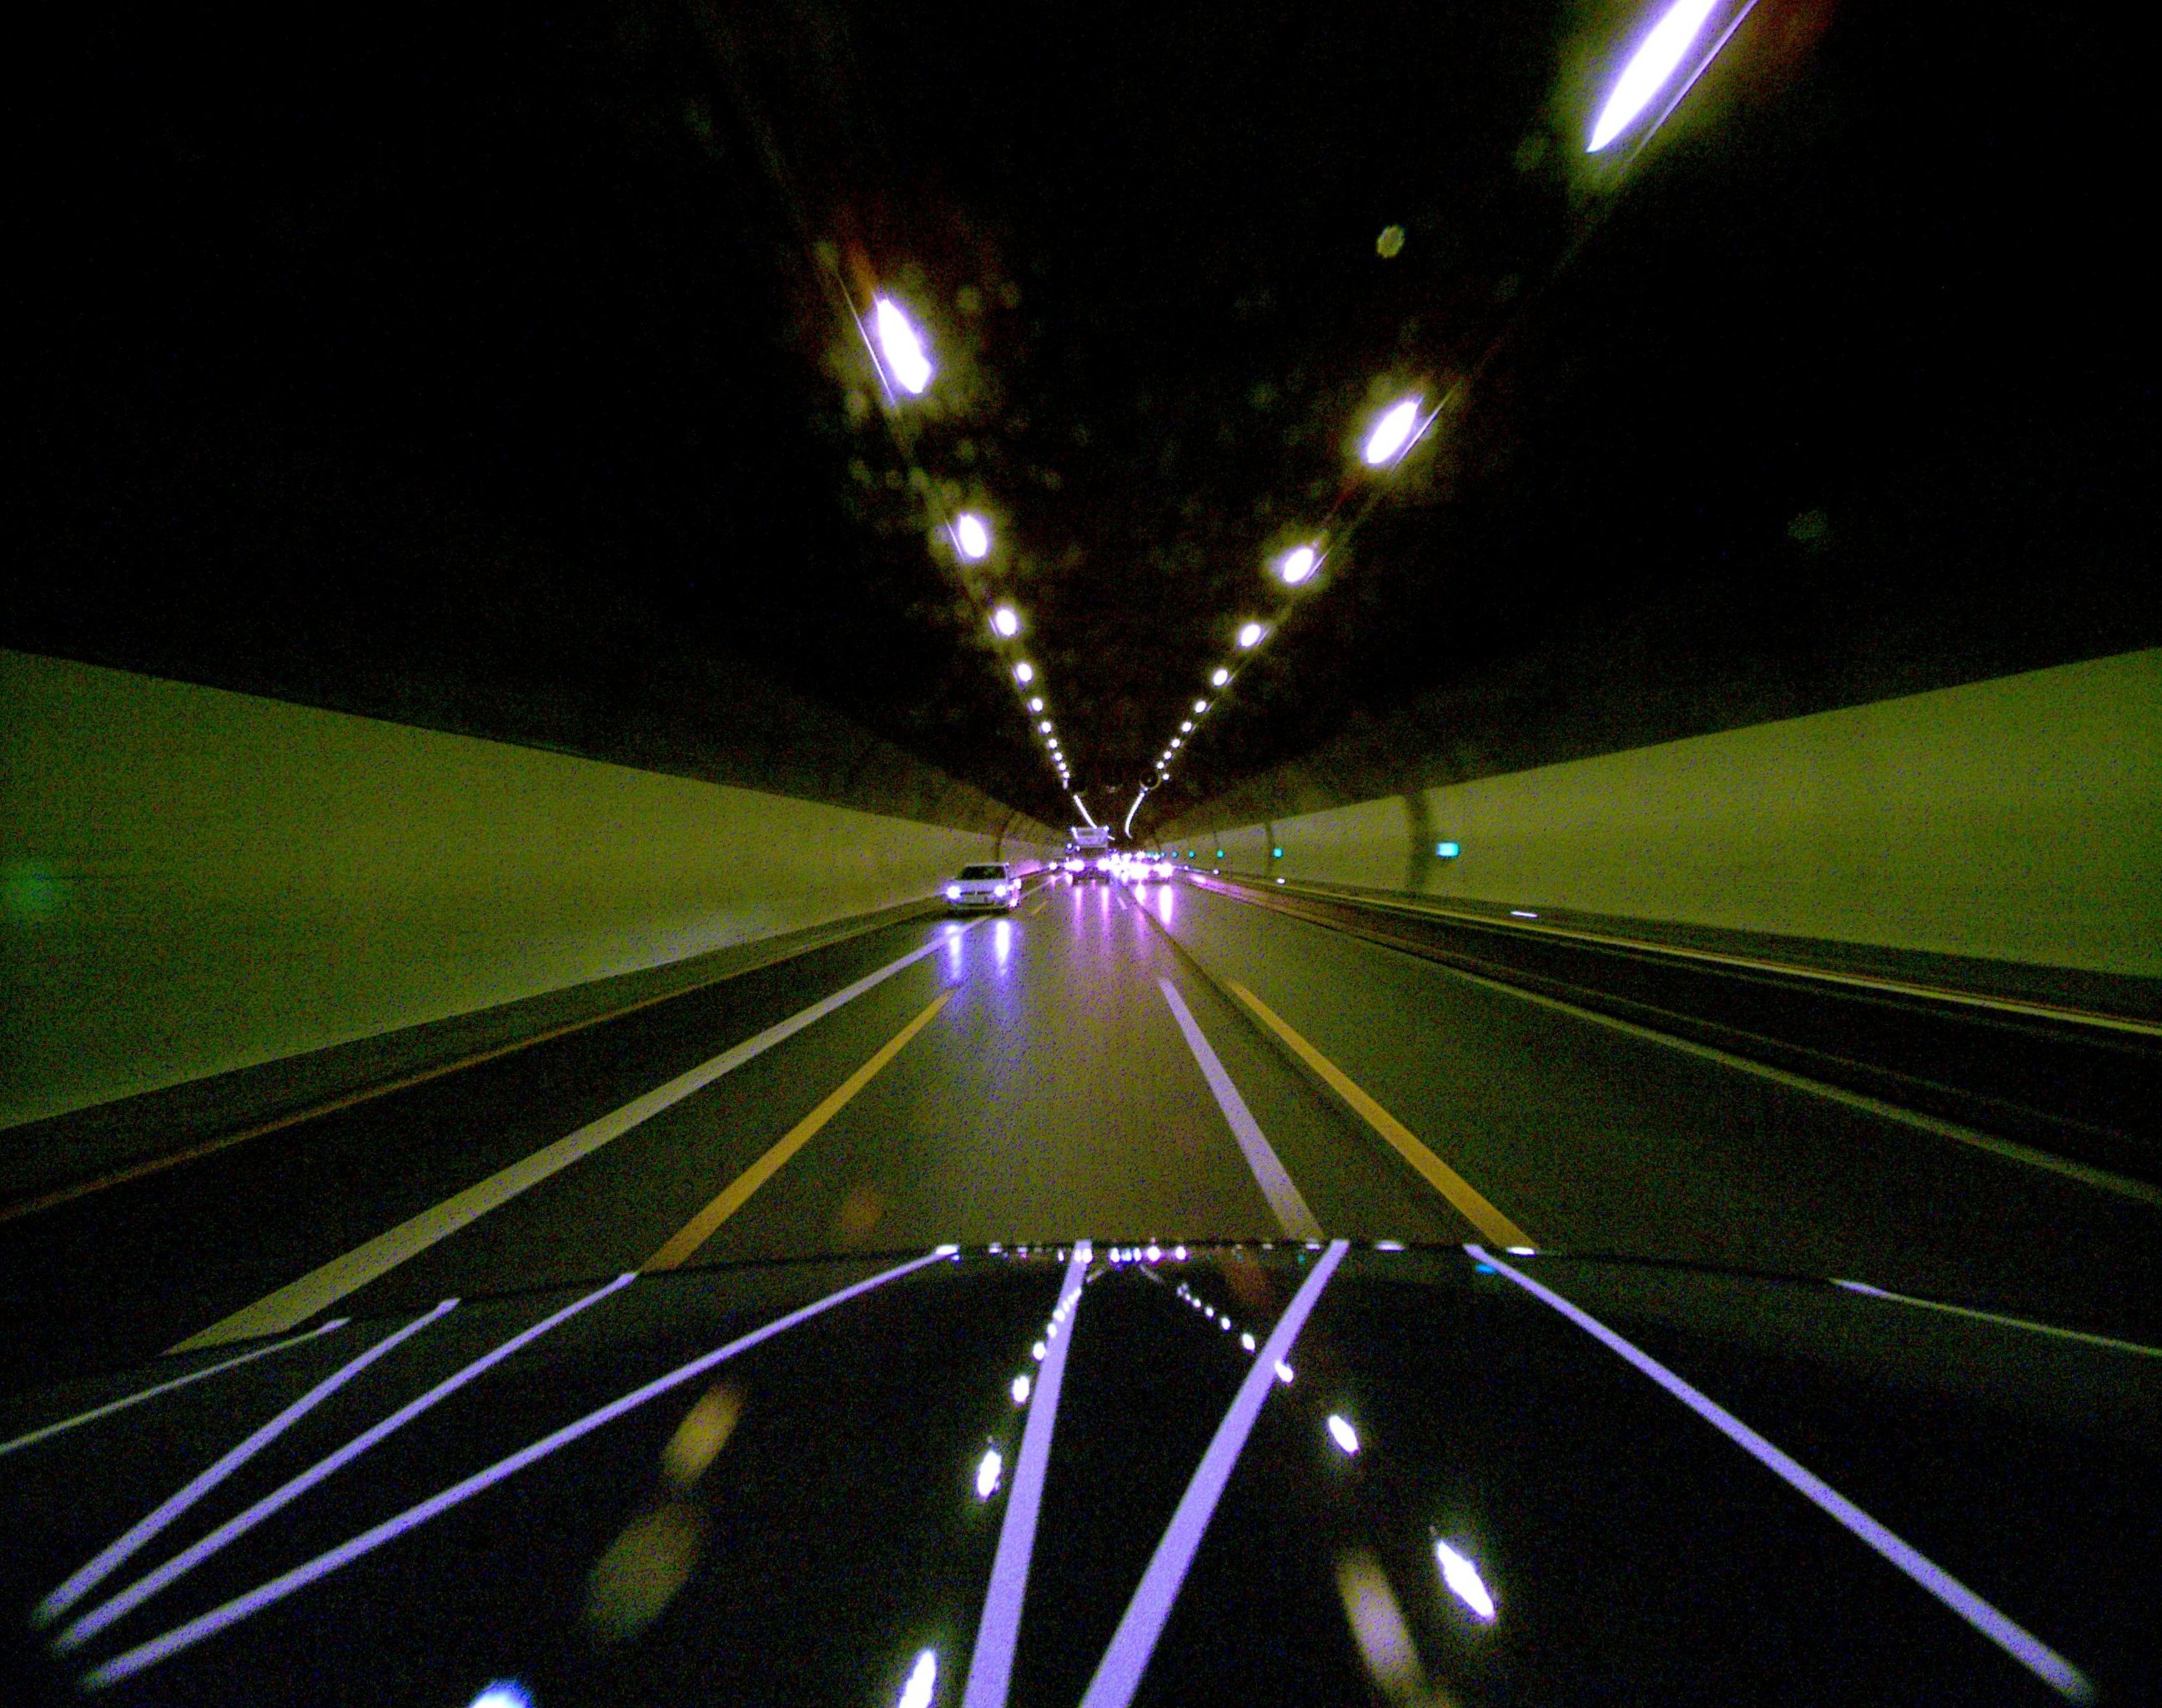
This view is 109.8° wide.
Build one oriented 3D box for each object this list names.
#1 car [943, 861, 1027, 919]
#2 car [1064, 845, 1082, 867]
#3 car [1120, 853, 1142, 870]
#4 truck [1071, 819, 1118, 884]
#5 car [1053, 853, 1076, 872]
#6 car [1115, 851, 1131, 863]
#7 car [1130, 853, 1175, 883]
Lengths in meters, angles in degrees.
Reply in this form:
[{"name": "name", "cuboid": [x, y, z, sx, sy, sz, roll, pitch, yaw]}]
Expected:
[{"name": "car", "cuboid": [-2.733, 0.988, 22.494, 1.801, 1.452, 4.035, -2, 0, 2]}, {"name": "car", "cuboid": [-1.018, 0.174, 98.241, 2.124, 2.629, 6.229, -3, 1, 0]}, {"name": "car", "cuboid": [4.373, 0.620, 66.584, 1.657, 1.395, 3.656, -2, 1, 0]}, {"name": "truck", "cuboid": [0.716, -0.150, 42.691, 2.262, 3.238, 7.382, -2, 1, 0]}, {"name": "car", "cuboid": [-1.480, 0.756, 69.071, 1.958, 1.528, 4.757, -3, 1, 0]}, {"name": "car", "cuboid": [6.079, 0.483, 111.425, 1.958, 1.528, 4.757, -5, 1, 0]}, {"name": "car", "cuboid": [3.736, 0.711, 40.585, 1.908, 1.476, 4.943, -1, 0, 0]}]
